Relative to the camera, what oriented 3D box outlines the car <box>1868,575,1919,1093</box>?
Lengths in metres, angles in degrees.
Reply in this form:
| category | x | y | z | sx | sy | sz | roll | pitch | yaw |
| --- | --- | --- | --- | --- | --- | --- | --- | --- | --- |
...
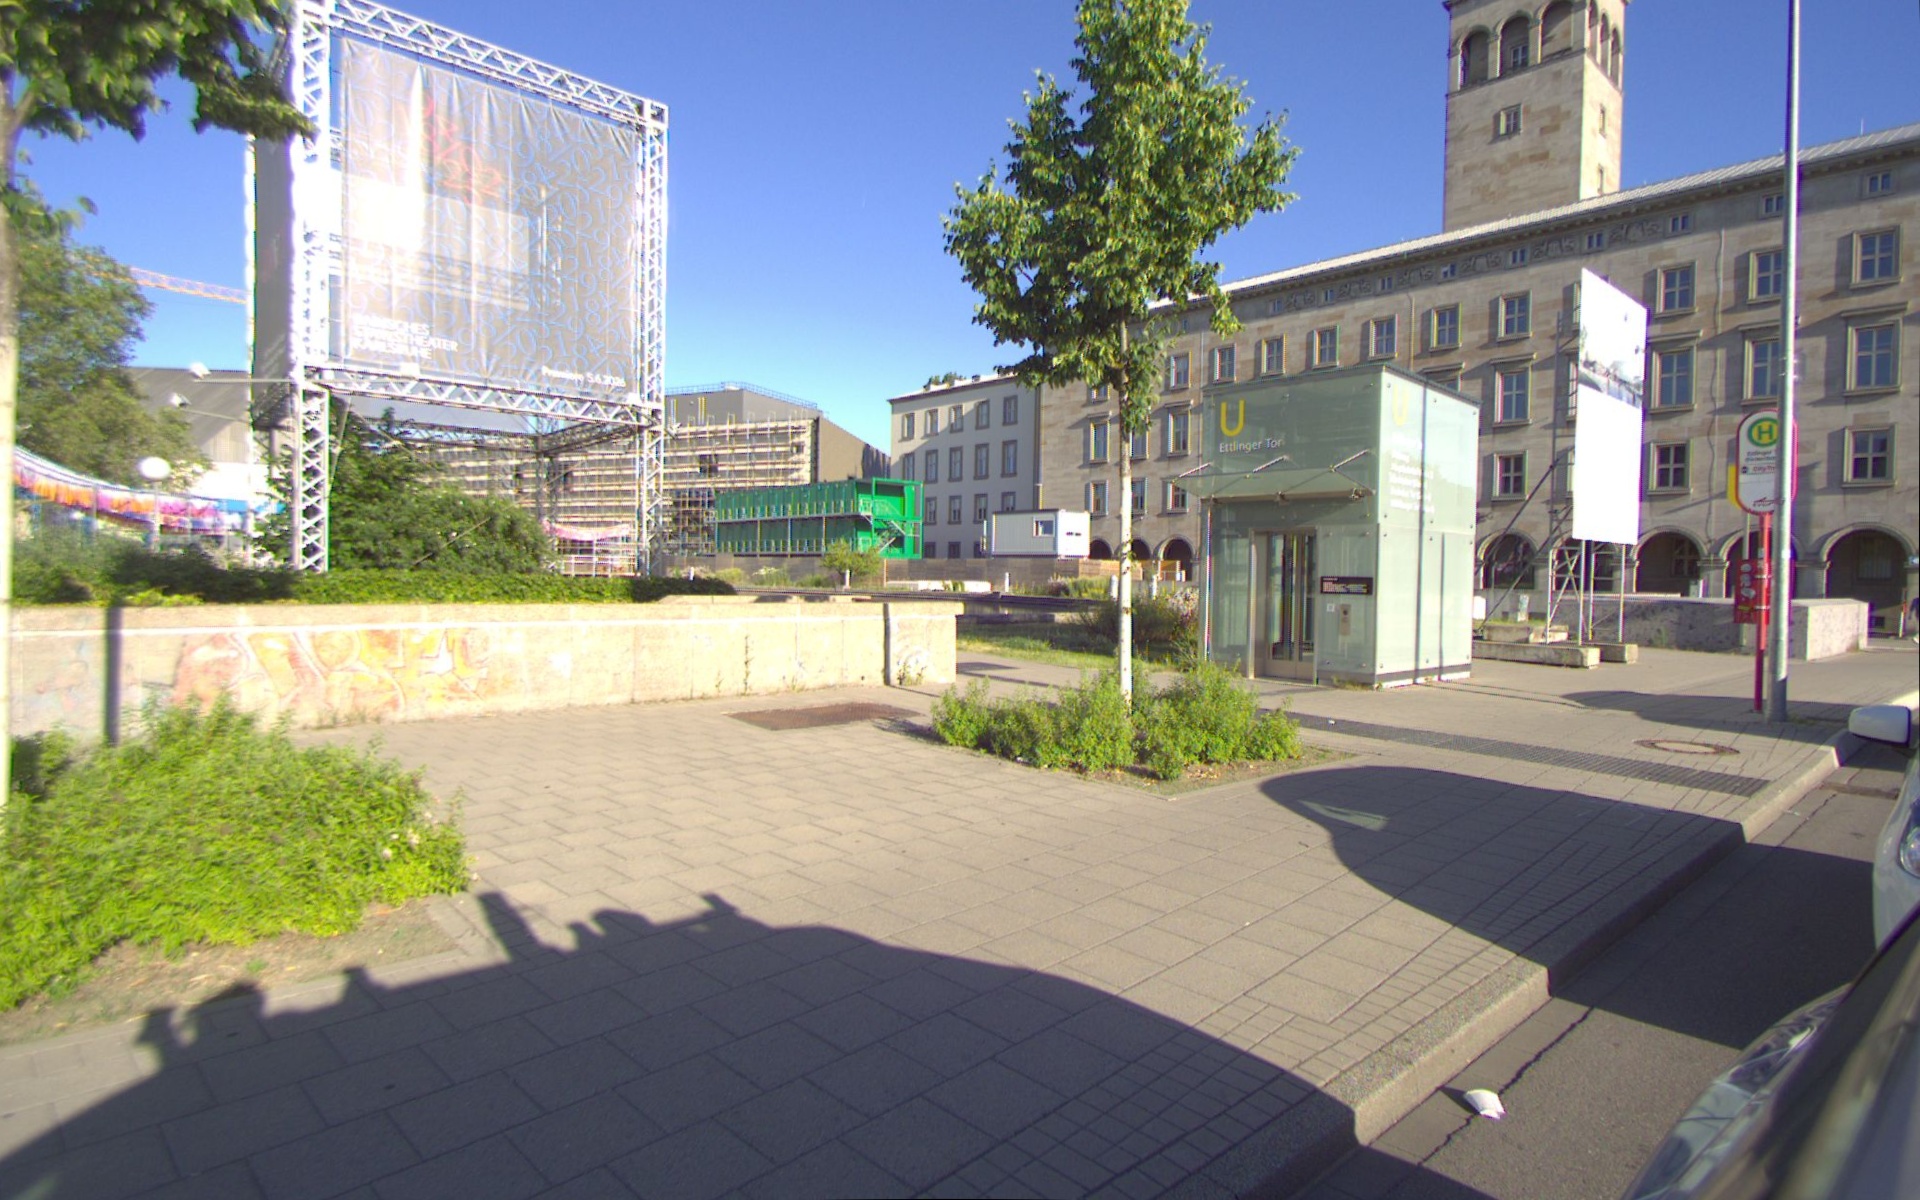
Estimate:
| category | x | y | z | sx | sy | sz | roll | pitch | yaw |
| --- | --- | --- | --- | --- | --- | --- | --- | --- | --- |
| car | 4.642 | 0.681 | 3.665 | 3.930 | 1.473 | 1.518 | 0 | 2 | -41 |
